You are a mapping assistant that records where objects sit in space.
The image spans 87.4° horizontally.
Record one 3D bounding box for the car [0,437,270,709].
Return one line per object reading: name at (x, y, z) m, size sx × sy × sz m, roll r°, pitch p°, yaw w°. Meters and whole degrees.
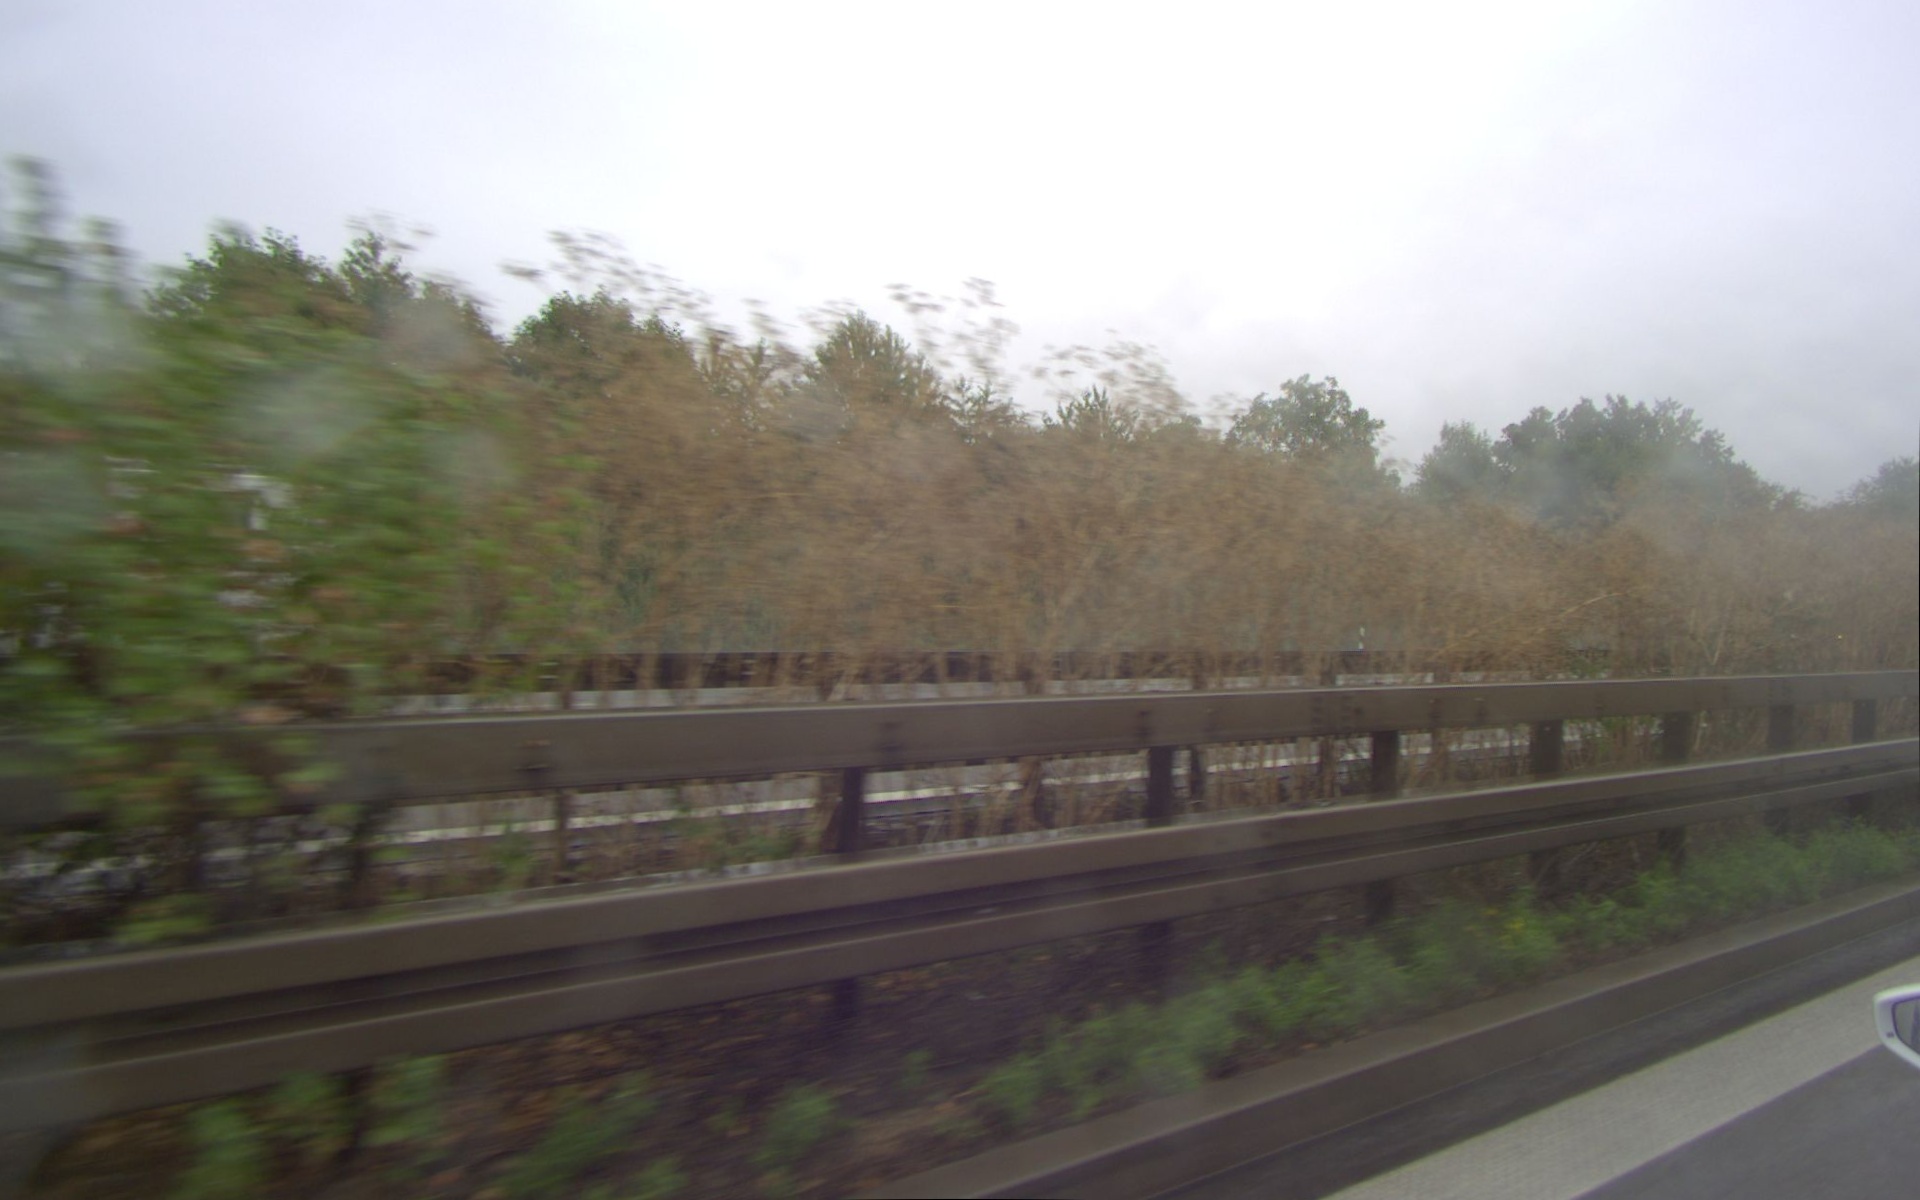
car at (-11.267, -0.299, 12.345) m, size 4.367 × 3.096 × 1.984 m, roll 2°, pitch -1°, yaw -30°
